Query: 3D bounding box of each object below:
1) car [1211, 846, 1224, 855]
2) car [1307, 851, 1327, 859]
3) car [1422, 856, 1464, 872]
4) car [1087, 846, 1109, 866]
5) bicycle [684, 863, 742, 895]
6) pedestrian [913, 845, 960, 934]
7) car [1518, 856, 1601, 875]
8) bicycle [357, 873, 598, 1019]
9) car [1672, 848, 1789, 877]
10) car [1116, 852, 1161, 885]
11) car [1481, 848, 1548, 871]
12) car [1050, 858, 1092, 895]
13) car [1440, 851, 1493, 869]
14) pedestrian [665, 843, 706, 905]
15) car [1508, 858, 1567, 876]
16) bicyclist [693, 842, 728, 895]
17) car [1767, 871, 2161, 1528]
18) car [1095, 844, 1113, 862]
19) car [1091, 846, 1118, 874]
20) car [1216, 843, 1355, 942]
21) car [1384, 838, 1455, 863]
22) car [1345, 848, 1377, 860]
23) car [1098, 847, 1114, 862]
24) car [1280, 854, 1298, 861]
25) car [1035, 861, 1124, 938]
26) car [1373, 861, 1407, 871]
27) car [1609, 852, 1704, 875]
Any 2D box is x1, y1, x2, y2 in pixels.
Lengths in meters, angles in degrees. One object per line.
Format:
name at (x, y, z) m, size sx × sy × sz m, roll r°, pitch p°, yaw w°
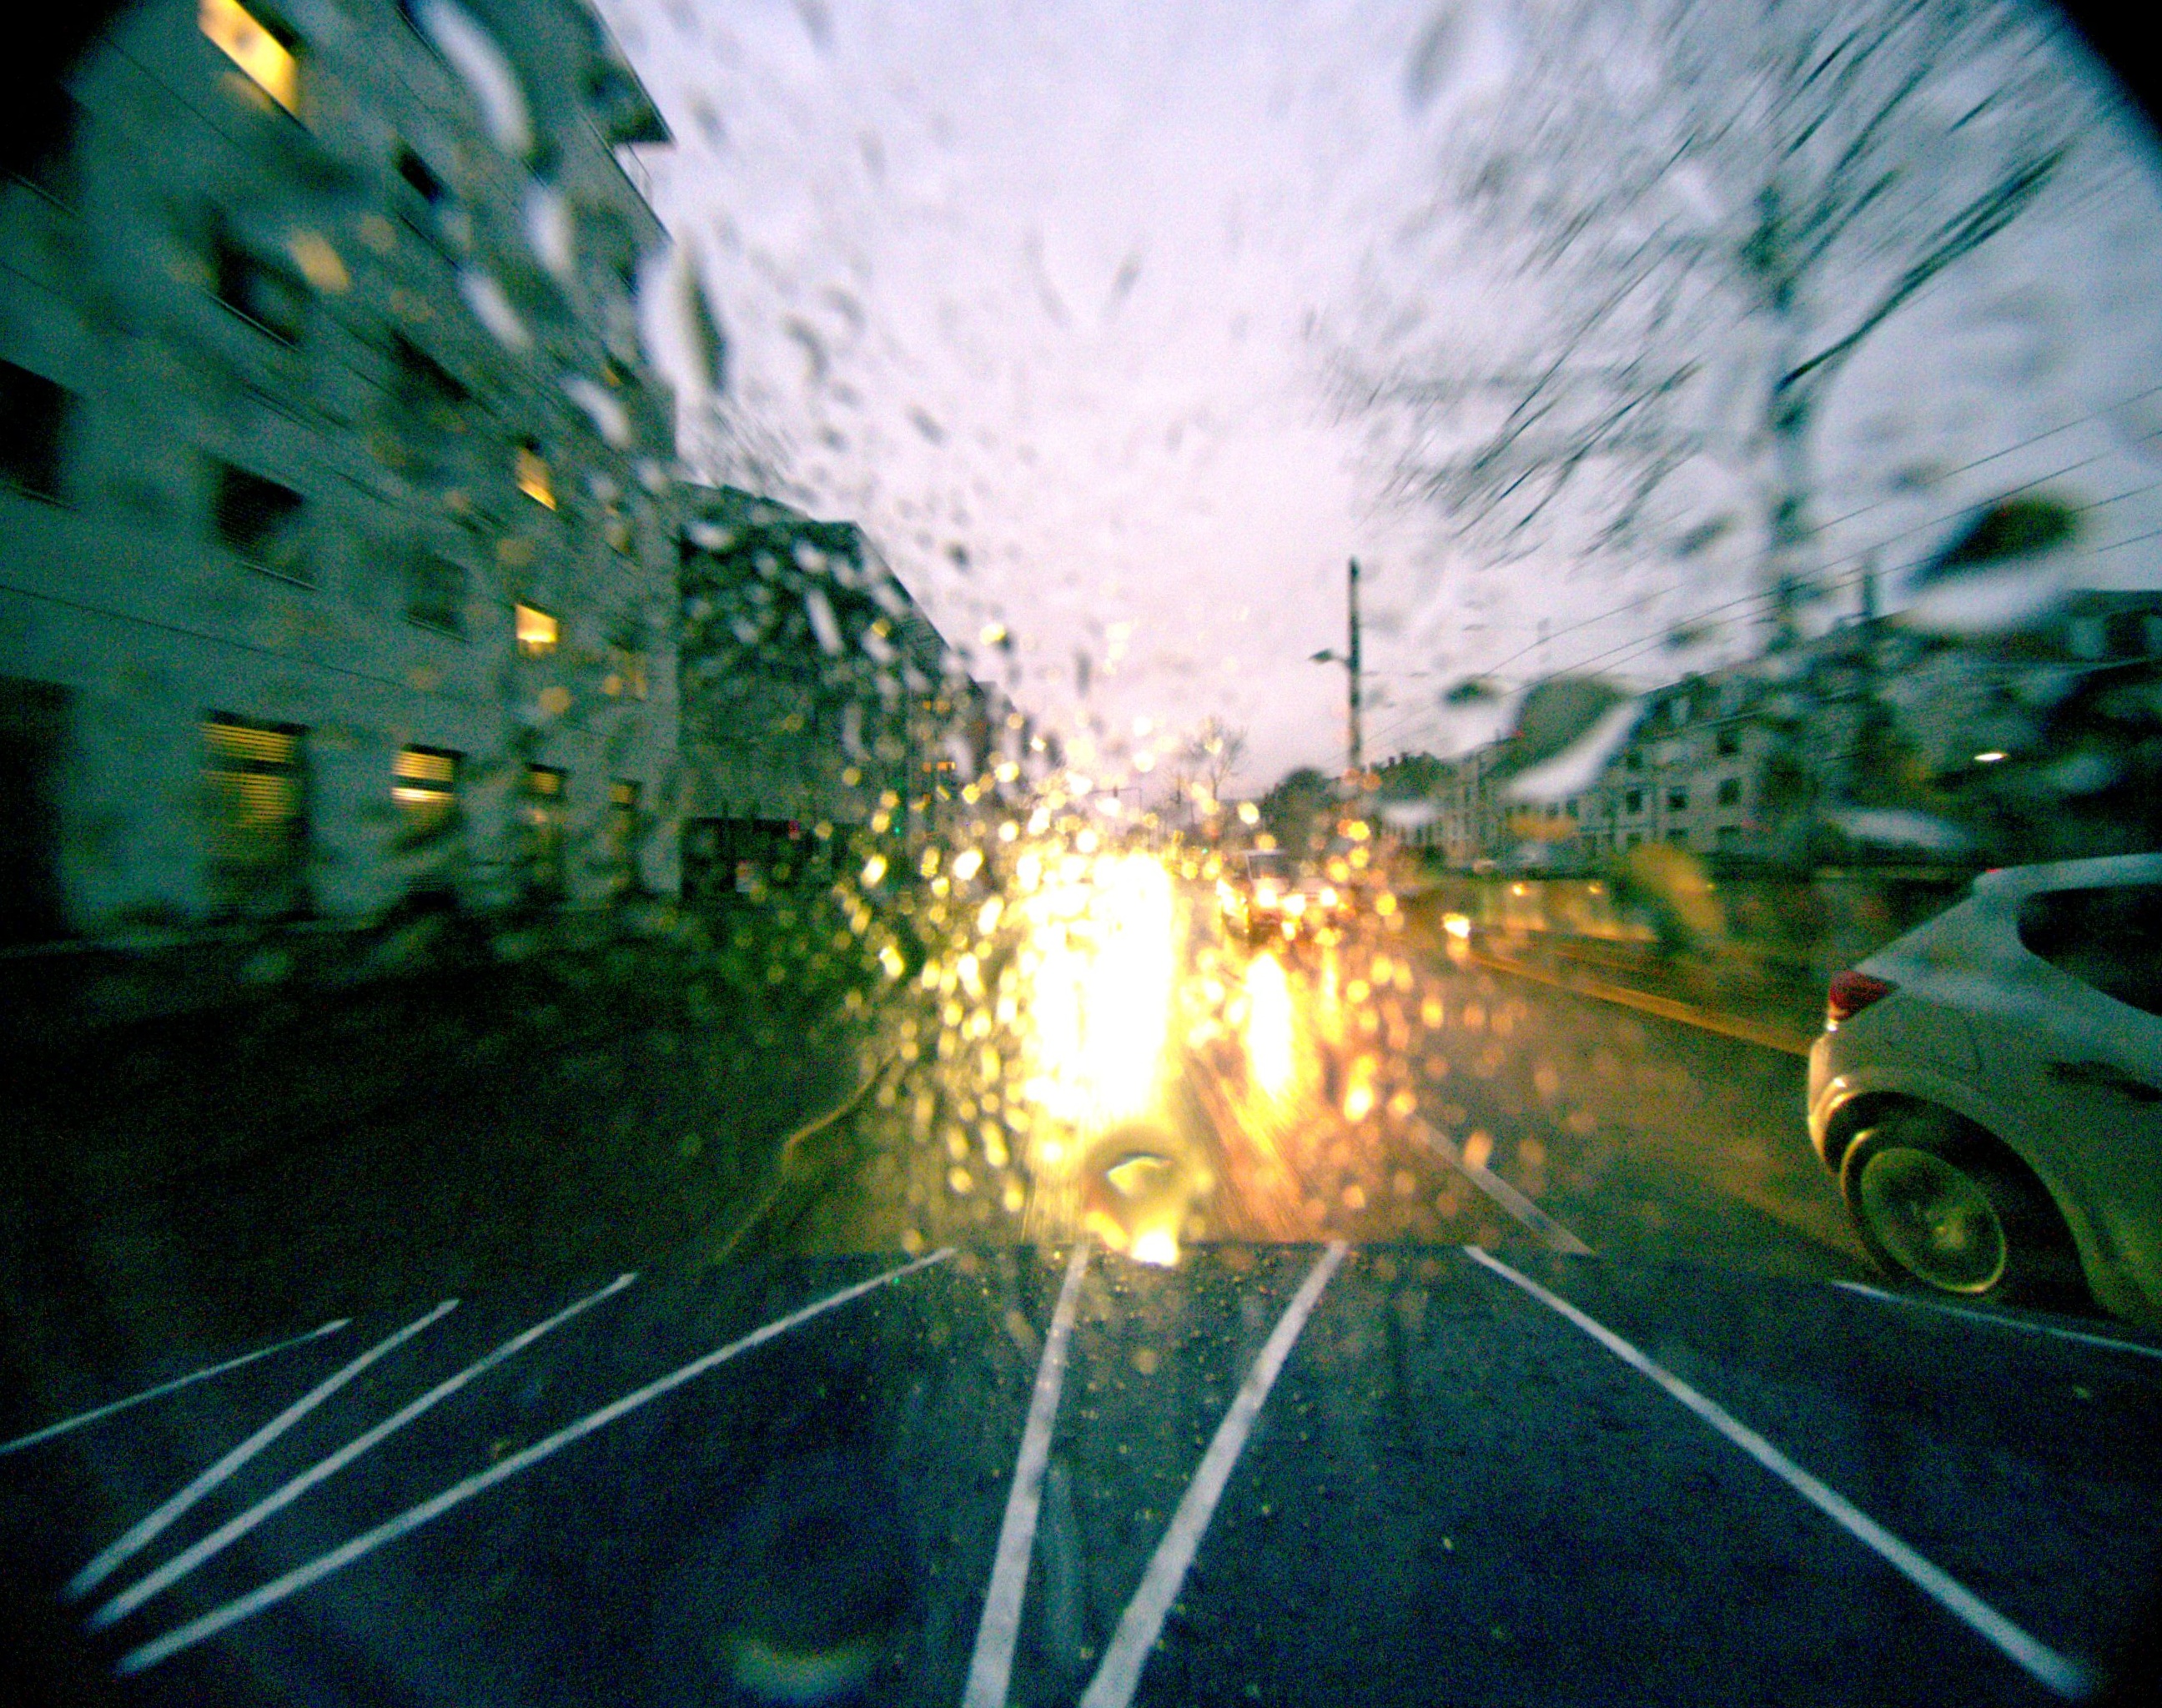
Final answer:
car at (30.274, -0.748, 168.522) m, size 1.999 × 2.002 × 3.999 m, roll -2°, pitch 1°, yaw -1°
car at (34.933, 0.163, 112.365) m, size 2.626 × 1.100 × 1.255 m, roll -2°, pitch 1°, yaw 4°
car at (31.908, 0.903, 66.967) m, size 3.100 × 1.376 × 1.316 m, roll -1°, pitch 0°, yaw 36°
car at (1.321, 0.161, 59.400) m, size 1.595 × 1.428 × 3.804 m, roll -2°, pitch 0°, yaw 1°
bicycle at (-12.955, 0.896, 26.760) m, size 1.863 × 1.084 × 0.856 m, roll -2°, pitch -2°, yaw 25°
pedestrian at (-3.028, 0.724, 15.962) m, size 0.773 × 1.798 × 0.699 m, roll 3°, pitch 2°, yaw -1°
car at (30.130, 0.695, 47.894) m, size 4.393 × 1.125 × 1.250 m, roll 0°, pitch 2°, yaw 35°
bicycle at (-5.676, 0.787, 7.367) m, size 0.552 × 1.109 × 2.166 m, roll 1°, pitch 1°, yaw 2°
car at (30.073, 0.397, 35.329) m, size 3.989 × 1.248 × 1.447 m, roll -1°, pitch 1°, yaw 35°
car at (2.800, 0.686, 37.967) m, size 1.975 × 1.492 × 4.091 m, roll -2°, pitch 0°, yaw 1°
car at (30.892, 0.402, 54.217) m, size 4.002 × 1.496 × 1.316 m, roll -1°, pitch 2°, yaw 37°
car at (-0.435, 1.049, 36.188) m, size 1.764 × 1.520 × 3.734 m, roll -2°, pitch 1°, yaw 2°
car at (30.958, 0.474, 61.058) m, size 3.599 × 1.376 × 1.316 m, roll -1°, pitch 0°, yaw 33°
pedestrian at (-11.406, 0.564, 21.941) m, size 0.739 × 1.726 × 0.703 m, roll -2°, pitch 2°, yaw -1°
car at (30.638, 0.857, 50.987) m, size 3.305 × 1.125 × 1.316 m, roll 0°, pitch 0°, yaw 36°
bicyclist at (-13.021, 0.525, 26.703) m, size 0.730 × 1.811 × 0.842 m, roll -1°, pitch -2°, yaw 24°
car at (3.393, 0.848, 0.792) m, size 1.712 × 1.457 × 3.999 m, roll -2°, pitch 1°, yaw -1°
car at (2.241, -0.124, 74.789) m, size 1.729 × 1.646 × 3.643 m, roll -2°, pitch 1°, yaw 1°
car at (1.614, 0.377, 52.031) m, size 1.729 × 1.730 × 4.054 m, roll -2°, pitch 1°, yaw 3°
car at (3.949, 0.661, 15.369) m, size 2.020 × 1.667 × 4.001 m, roll -2°, pitch 1°, yaw 5°
car at (32.602, -0.317, 73.277) m, size 5.893 × 2.242 × 1.825 m, roll -1°, pitch 2°, yaw 35°
car at (32.104, 0.022, 87.234) m, size 3.197 × 1.309 × 1.554 m, roll -1°, pitch 1°, yaw 32°
car at (3.467, 0.056, 105.705) m, size 1.998 × 1.783 × 3.810 m, roll -4°, pitch 1°, yaw 2°
car at (34.351, 0.602, 125.653) m, size 2.565 × 0.981 × 1.257 m, roll -2°, pitch 1°, yaw 31°
car at (-0.018, 0.936, 17.363) m, size 1.757 × 1.418 × 3.803 m, roll -2°, pitch 1°, yaw 0°
car at (32.447, 1.265, 79.775) m, size 3.100 × 1.000 × 1.189 m, roll -1°, pitch 0°, yaw 36°
car at (30.947, 0.504, 40.965) m, size 3.989 × 1.125 × 1.364 m, roll -1°, pitch 1°, yaw 37°
